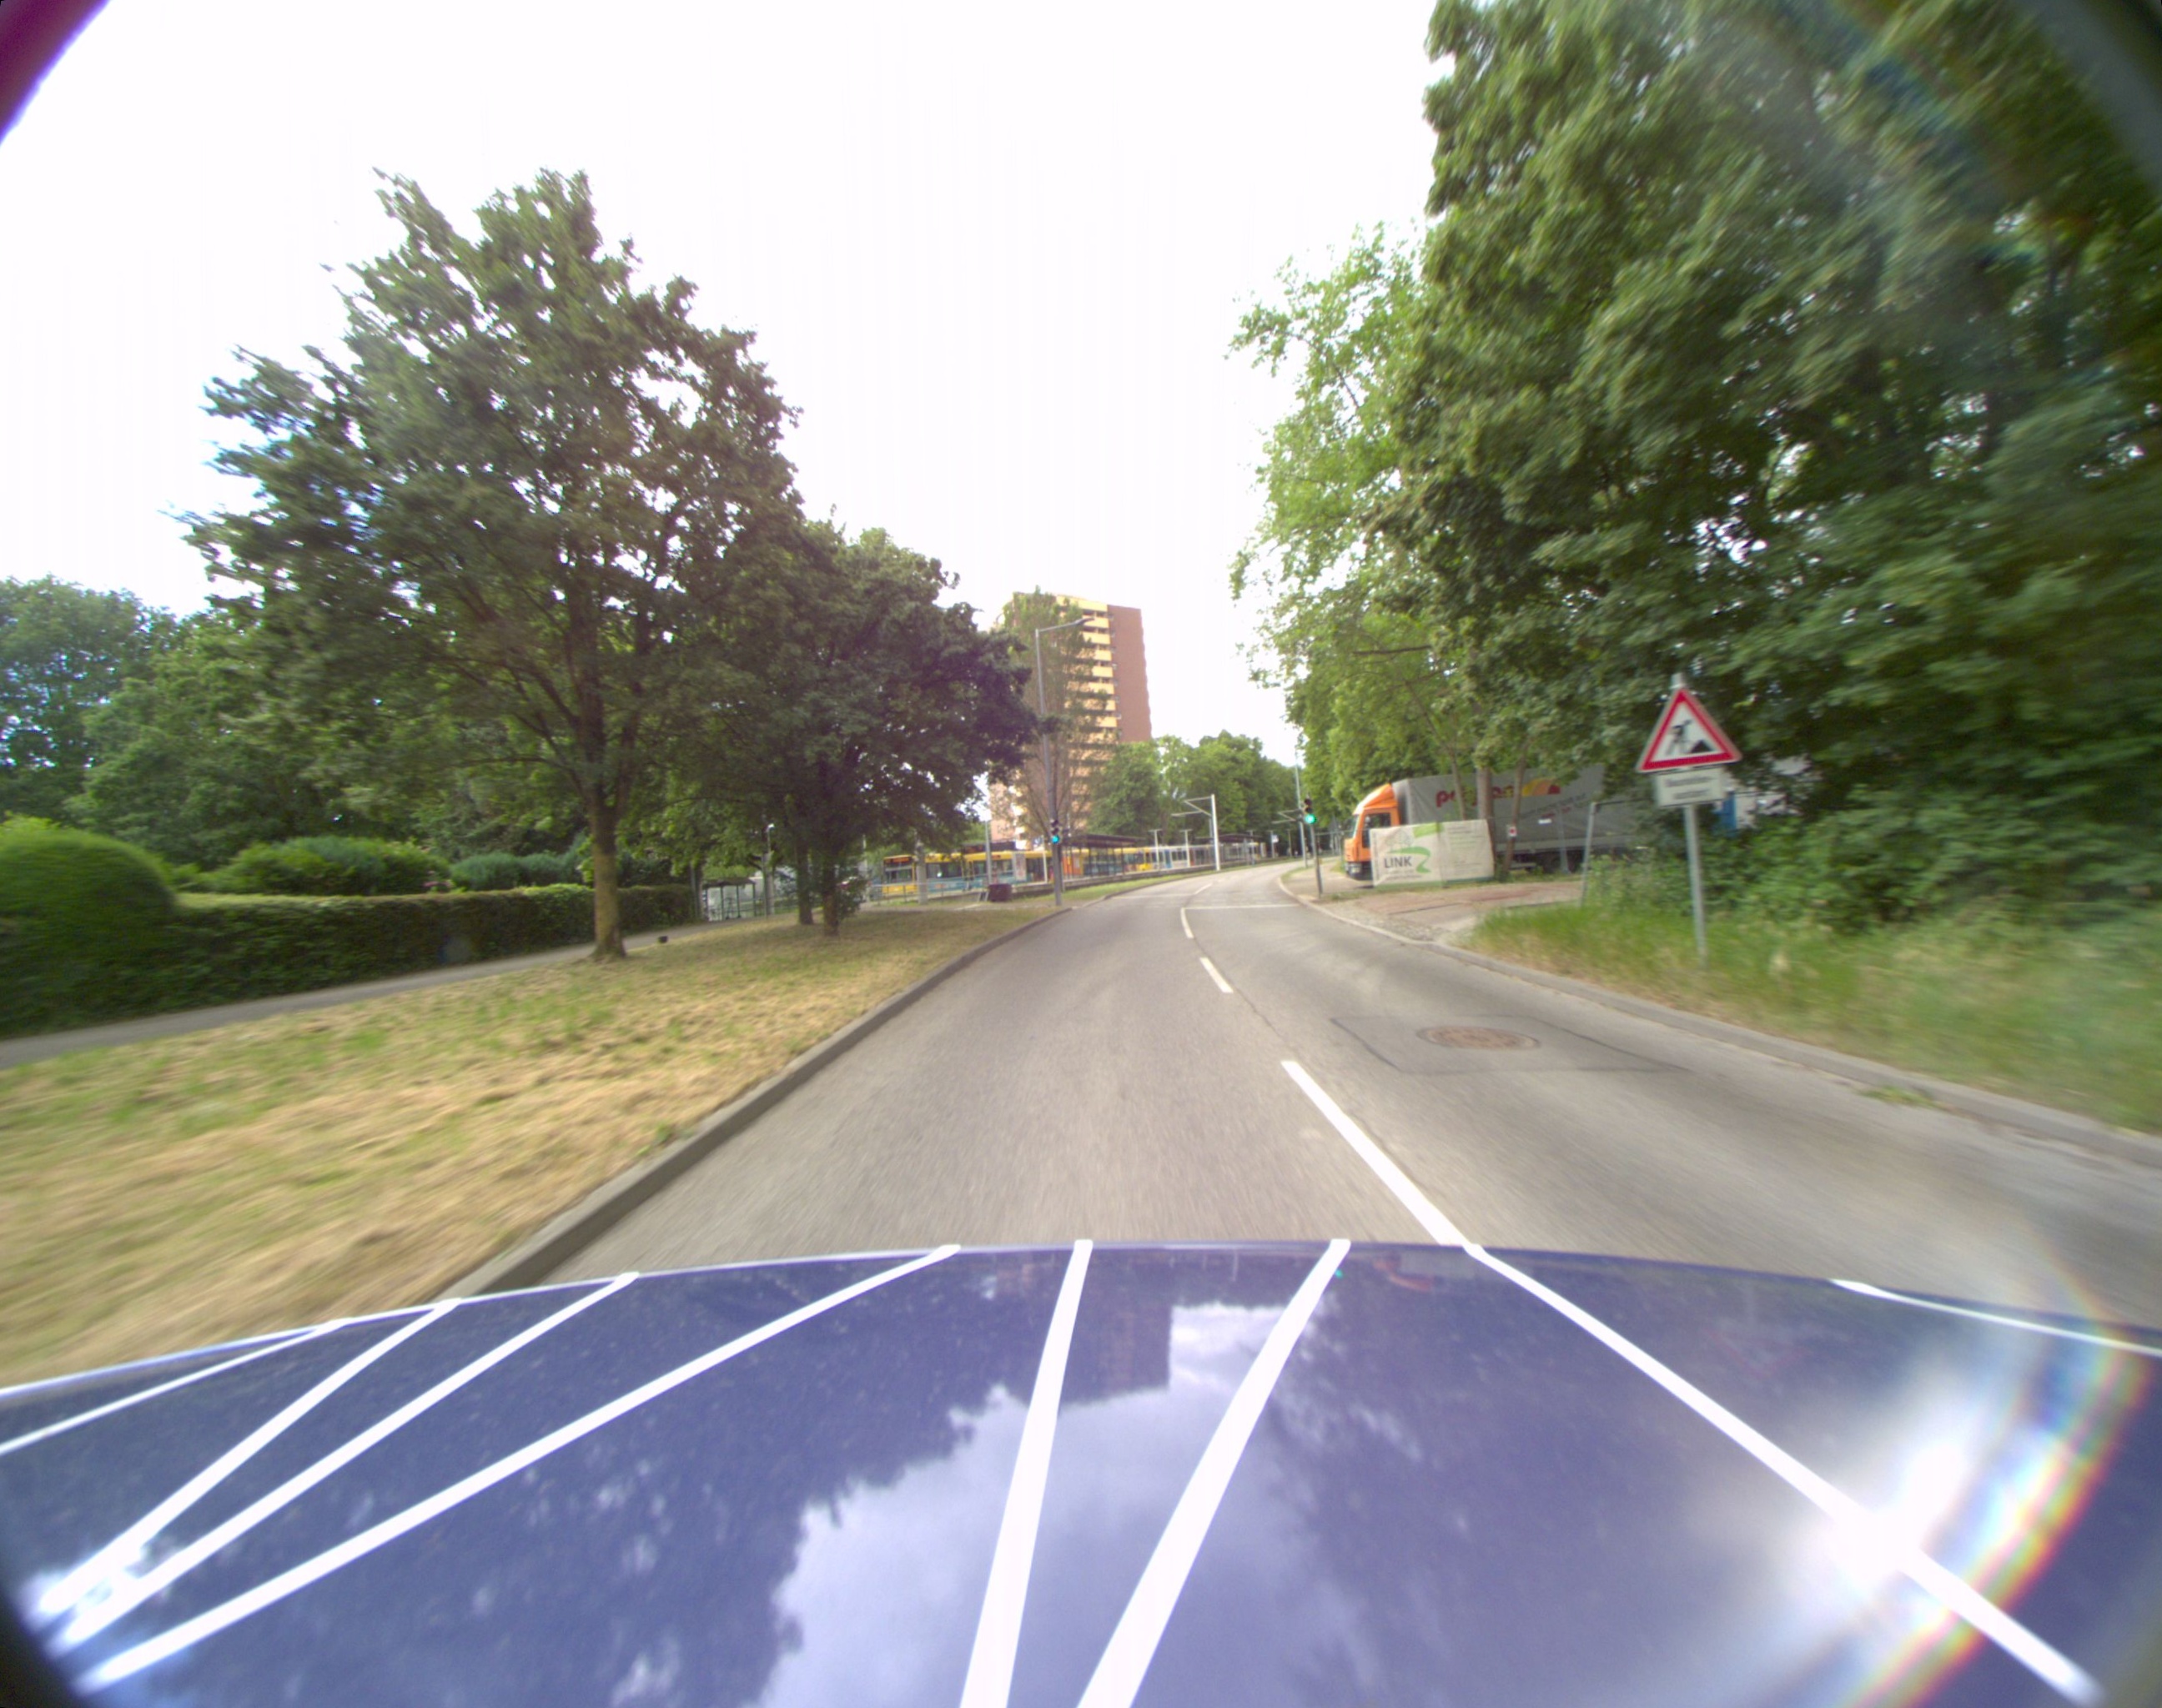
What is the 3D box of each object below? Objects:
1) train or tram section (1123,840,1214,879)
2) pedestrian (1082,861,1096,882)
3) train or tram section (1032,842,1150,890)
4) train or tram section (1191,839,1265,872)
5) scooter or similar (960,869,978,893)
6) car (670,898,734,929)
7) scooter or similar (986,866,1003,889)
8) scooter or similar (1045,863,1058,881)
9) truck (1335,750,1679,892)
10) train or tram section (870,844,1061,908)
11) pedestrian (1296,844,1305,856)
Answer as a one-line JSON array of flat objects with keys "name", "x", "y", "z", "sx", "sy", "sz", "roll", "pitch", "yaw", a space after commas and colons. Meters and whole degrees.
[{"name": "train or tram section", "x": 10.709, "y": 0.488, "z": 89.210, "sx": 2.816, "sy": 3.775, "sz": 18.967, "roll": -7, "pitch": -2, "yaw": 31}, {"name": "pedestrian", "x": 0.621, "y": 1.342, "z": 58.935, "sx": 0.623, "sy": 1.563, "sz": 0.666, "roll": -5, "pitch": 0, "yaw": 43}, {"name": "train or tram section", "x": 1.590, "y": 0.920, "z": 71.992, "sx": 2.817, "sy": 3.713, "sz": 19.546, "roll": -7, "pitch": -2, "yaw": 26}, {"name": "train or tram section", "x": 20.748, "y": 0.091, "z": 105.264, "sx": 2.816, "sy": 3.713, "sz": 18.565, "roll": -7, "pitch": -2, "yaw": 33}, {"name": "scooter or similar", "x": -6.194, "y": 1.471, "z": 41.953, "sx": 0.430, "sy": 1.246, "sz": 1.255, "roll": -4, "pitch": 1, "yaw": 14}, {"name": "car", "x": -29.644, "y": 4.656, "z": 59.534, "sx": 1.900, "sy": 2.002, "sz": 4.006, "roll": -4, "pitch": 0, "yaw": 26}, {"name": "scooter or similar", "x": -4.936, "y": 1.332, "z": 43.395, "sx": 0.430, "sy": 1.246, "sz": 1.256, "roll": -4, "pitch": 1, "yaw": 17}, {"name": "scooter or similar", "x": -2.069, "y": 1.255, "z": 53.674, "sx": 0.368, "sy": 1.234, "sz": 1.148, "roll": -5, "pitch": -1, "yaw": 25}, {"name": "truck", "x": 13.423, "y": -0.945, "z": 24.824, "sx": 9.247, "sy": 3.510, "sz": 2.567, "roll": -5, "pitch": 0, "yaw": 12}, {"name": "train or tram section", "x": -7.214, "y": 1.223, "z": 54.287, "sx": 2.817, "sy": 3.566, "sz": 19.545, "roll": -7, "pitch": -2, "yaw": 25}, {"name": "pedestrian", "x": 33.361, "y": -0.645, "z": 115.468, "sx": 0.985, "sy": 1.747, "sz": 0.731, "roll": -6, "pitch": -2, "yaw": 24}]
